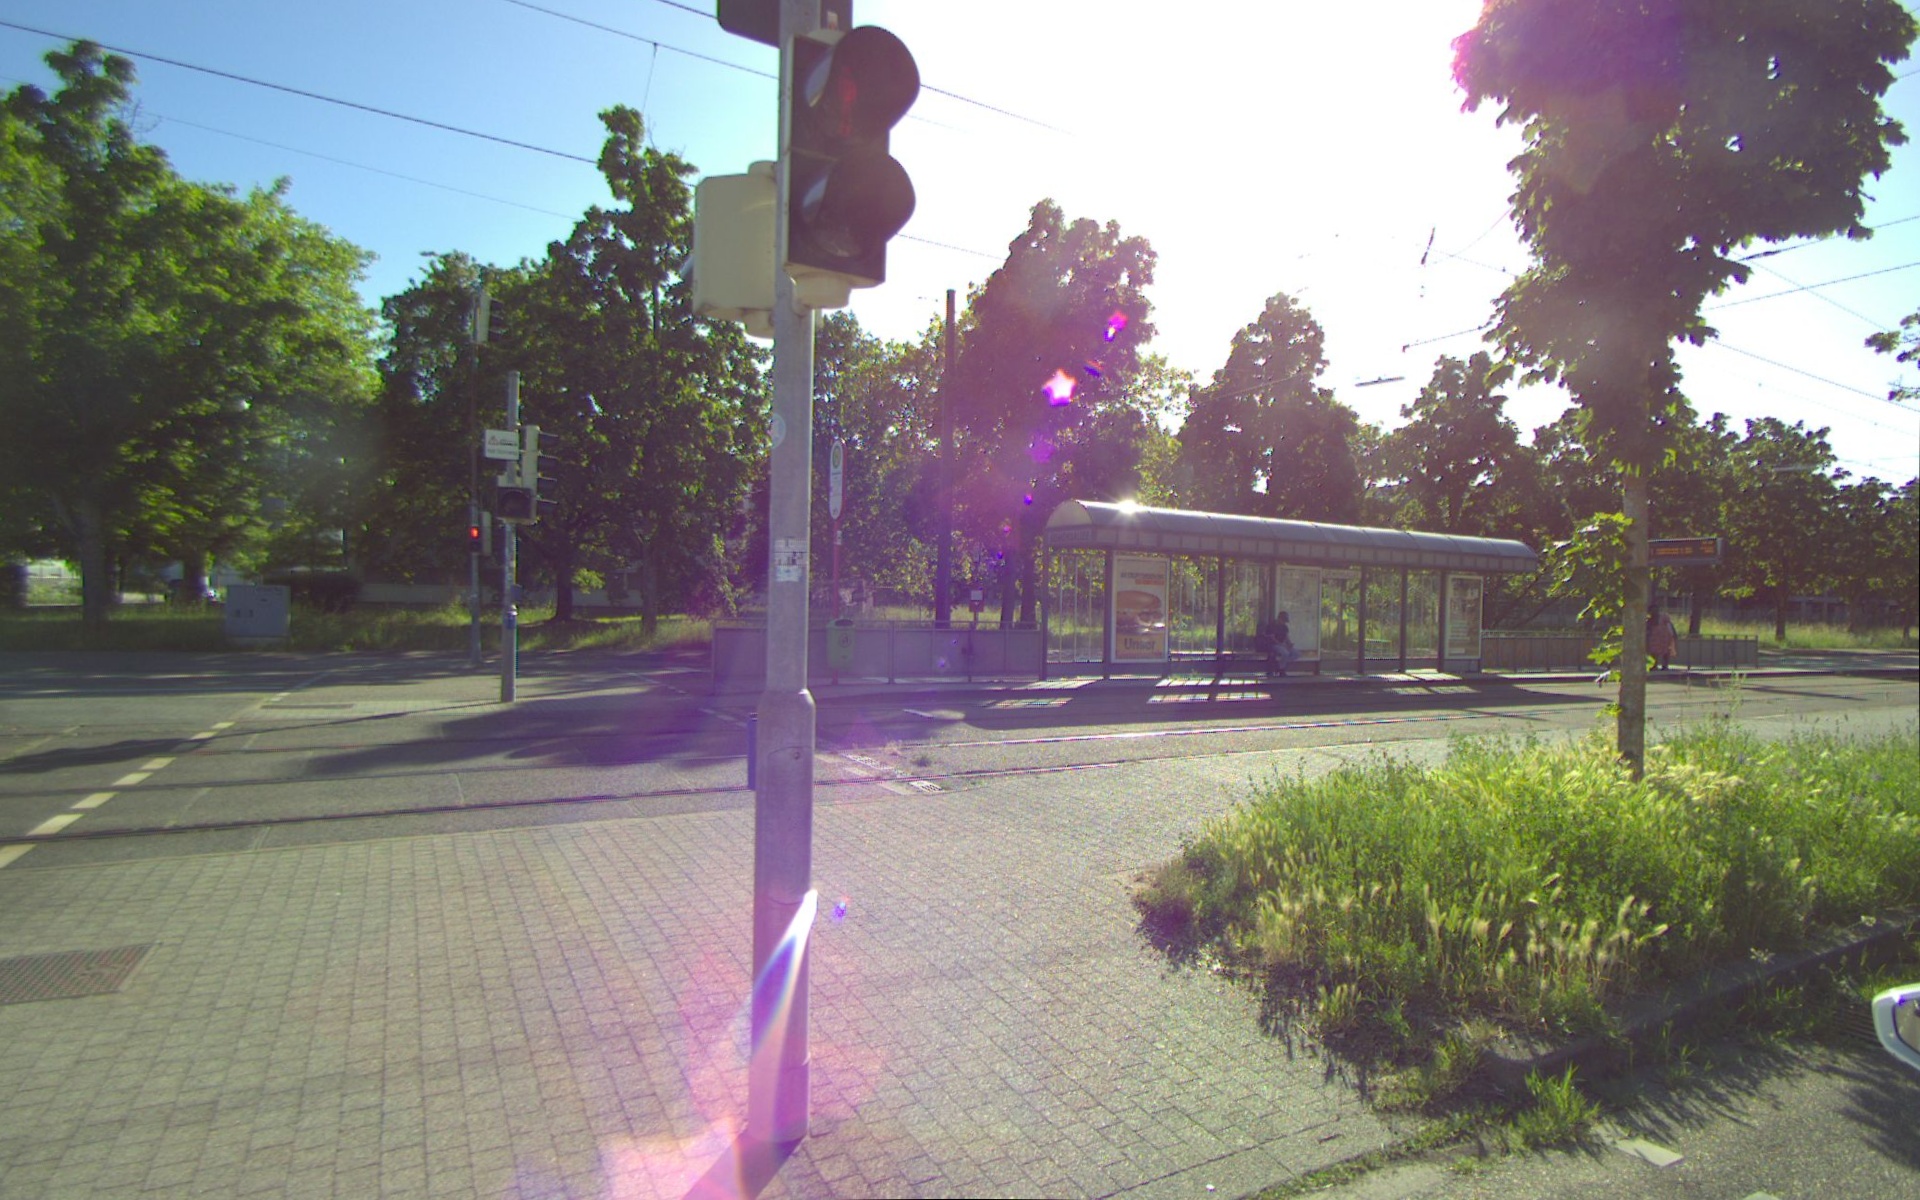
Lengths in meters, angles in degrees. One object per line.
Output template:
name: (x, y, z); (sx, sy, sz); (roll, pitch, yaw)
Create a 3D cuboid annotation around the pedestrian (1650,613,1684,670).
pedestrian: (18.677, 1.095, 26.538); (0.552, 1.467, 0.542); (2, -1, -29)

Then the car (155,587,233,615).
car: (-48.980, 0.047, 64.311); (3.565, 1.611, 1.792); (3, 0, -21)

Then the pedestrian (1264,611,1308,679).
pedestrian: (6.249, 0.867, 19.267); (0.574, 1.273, 0.561); (2, -2, -29)
